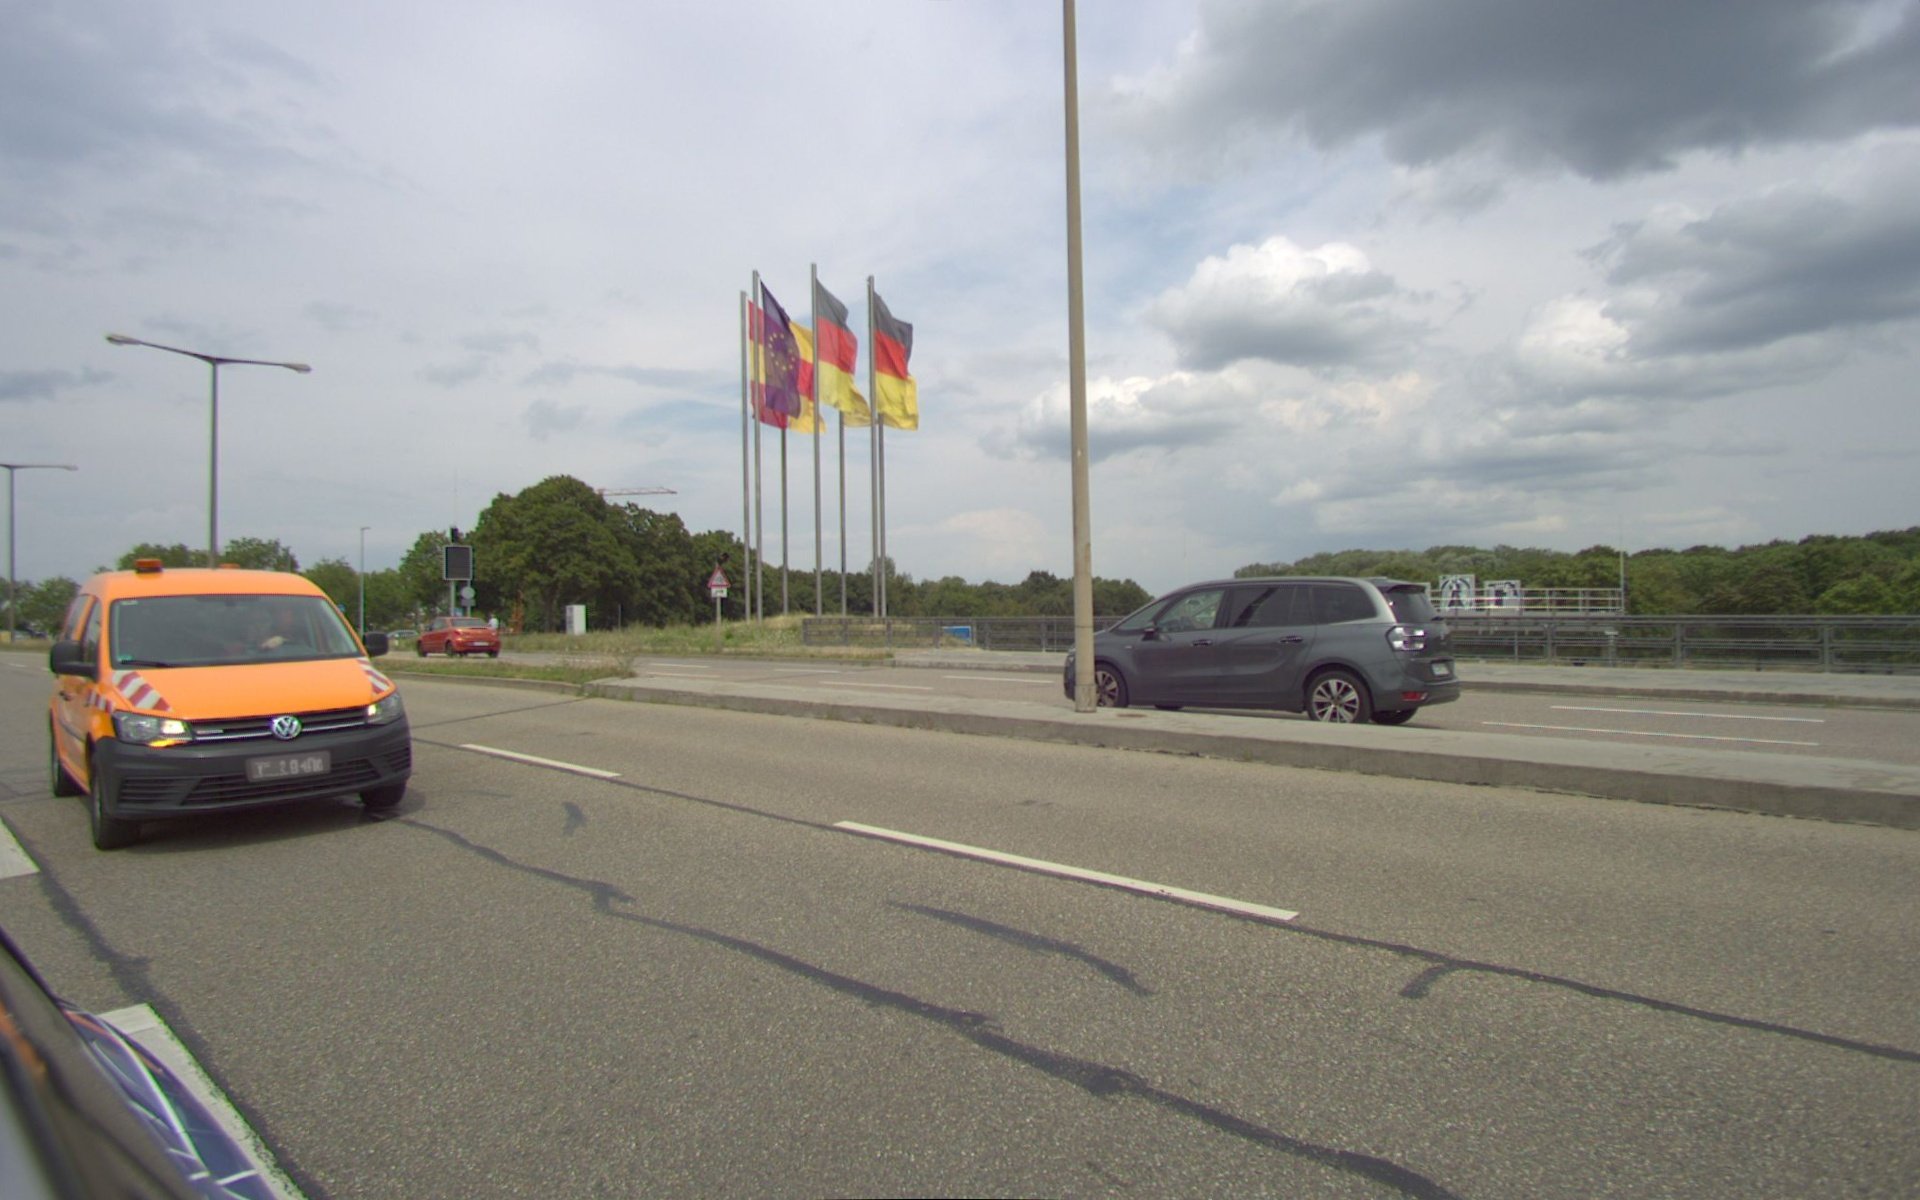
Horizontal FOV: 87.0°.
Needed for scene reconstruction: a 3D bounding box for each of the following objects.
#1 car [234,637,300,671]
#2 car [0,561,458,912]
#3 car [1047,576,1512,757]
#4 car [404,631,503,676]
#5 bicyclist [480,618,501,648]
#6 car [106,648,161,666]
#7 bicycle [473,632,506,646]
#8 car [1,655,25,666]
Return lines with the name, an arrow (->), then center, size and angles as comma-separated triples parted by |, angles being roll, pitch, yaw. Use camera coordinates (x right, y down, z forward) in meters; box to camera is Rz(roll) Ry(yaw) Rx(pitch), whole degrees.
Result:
car -> -33.485, 2.586, 48.888 | 3.680, 1.505, 1.674 | -2, -1, 40
car -> -5.673, 0.772, 7.494 | 4.427, 1.849, 1.869 | -2, -1, 40
car -> 3.471, 0.696, 11.563 | 4.659, 1.652, 1.973 | -2, -2, 41
car -> -18.020, 1.898, 35.920 | 3.996, 1.505, 1.674 | -2, -3, 40
bicyclist -> -25.505, 1.796, 54.988 | 0.736, 1.604, 0.810 | -3, -2, 41
car -> -77.735, 5.352, 95.209 | 3.582, 1.475, 1.700 | -2, -1, -9
bicycle -> -25.544, 2.134, 54.961 | 2.221, 0.739, 0.810 | -2, -2, 42
car -> -109.652, 7.002, 117.201 | 3.467, 1.246, 1.674 | -2, -1, 40
